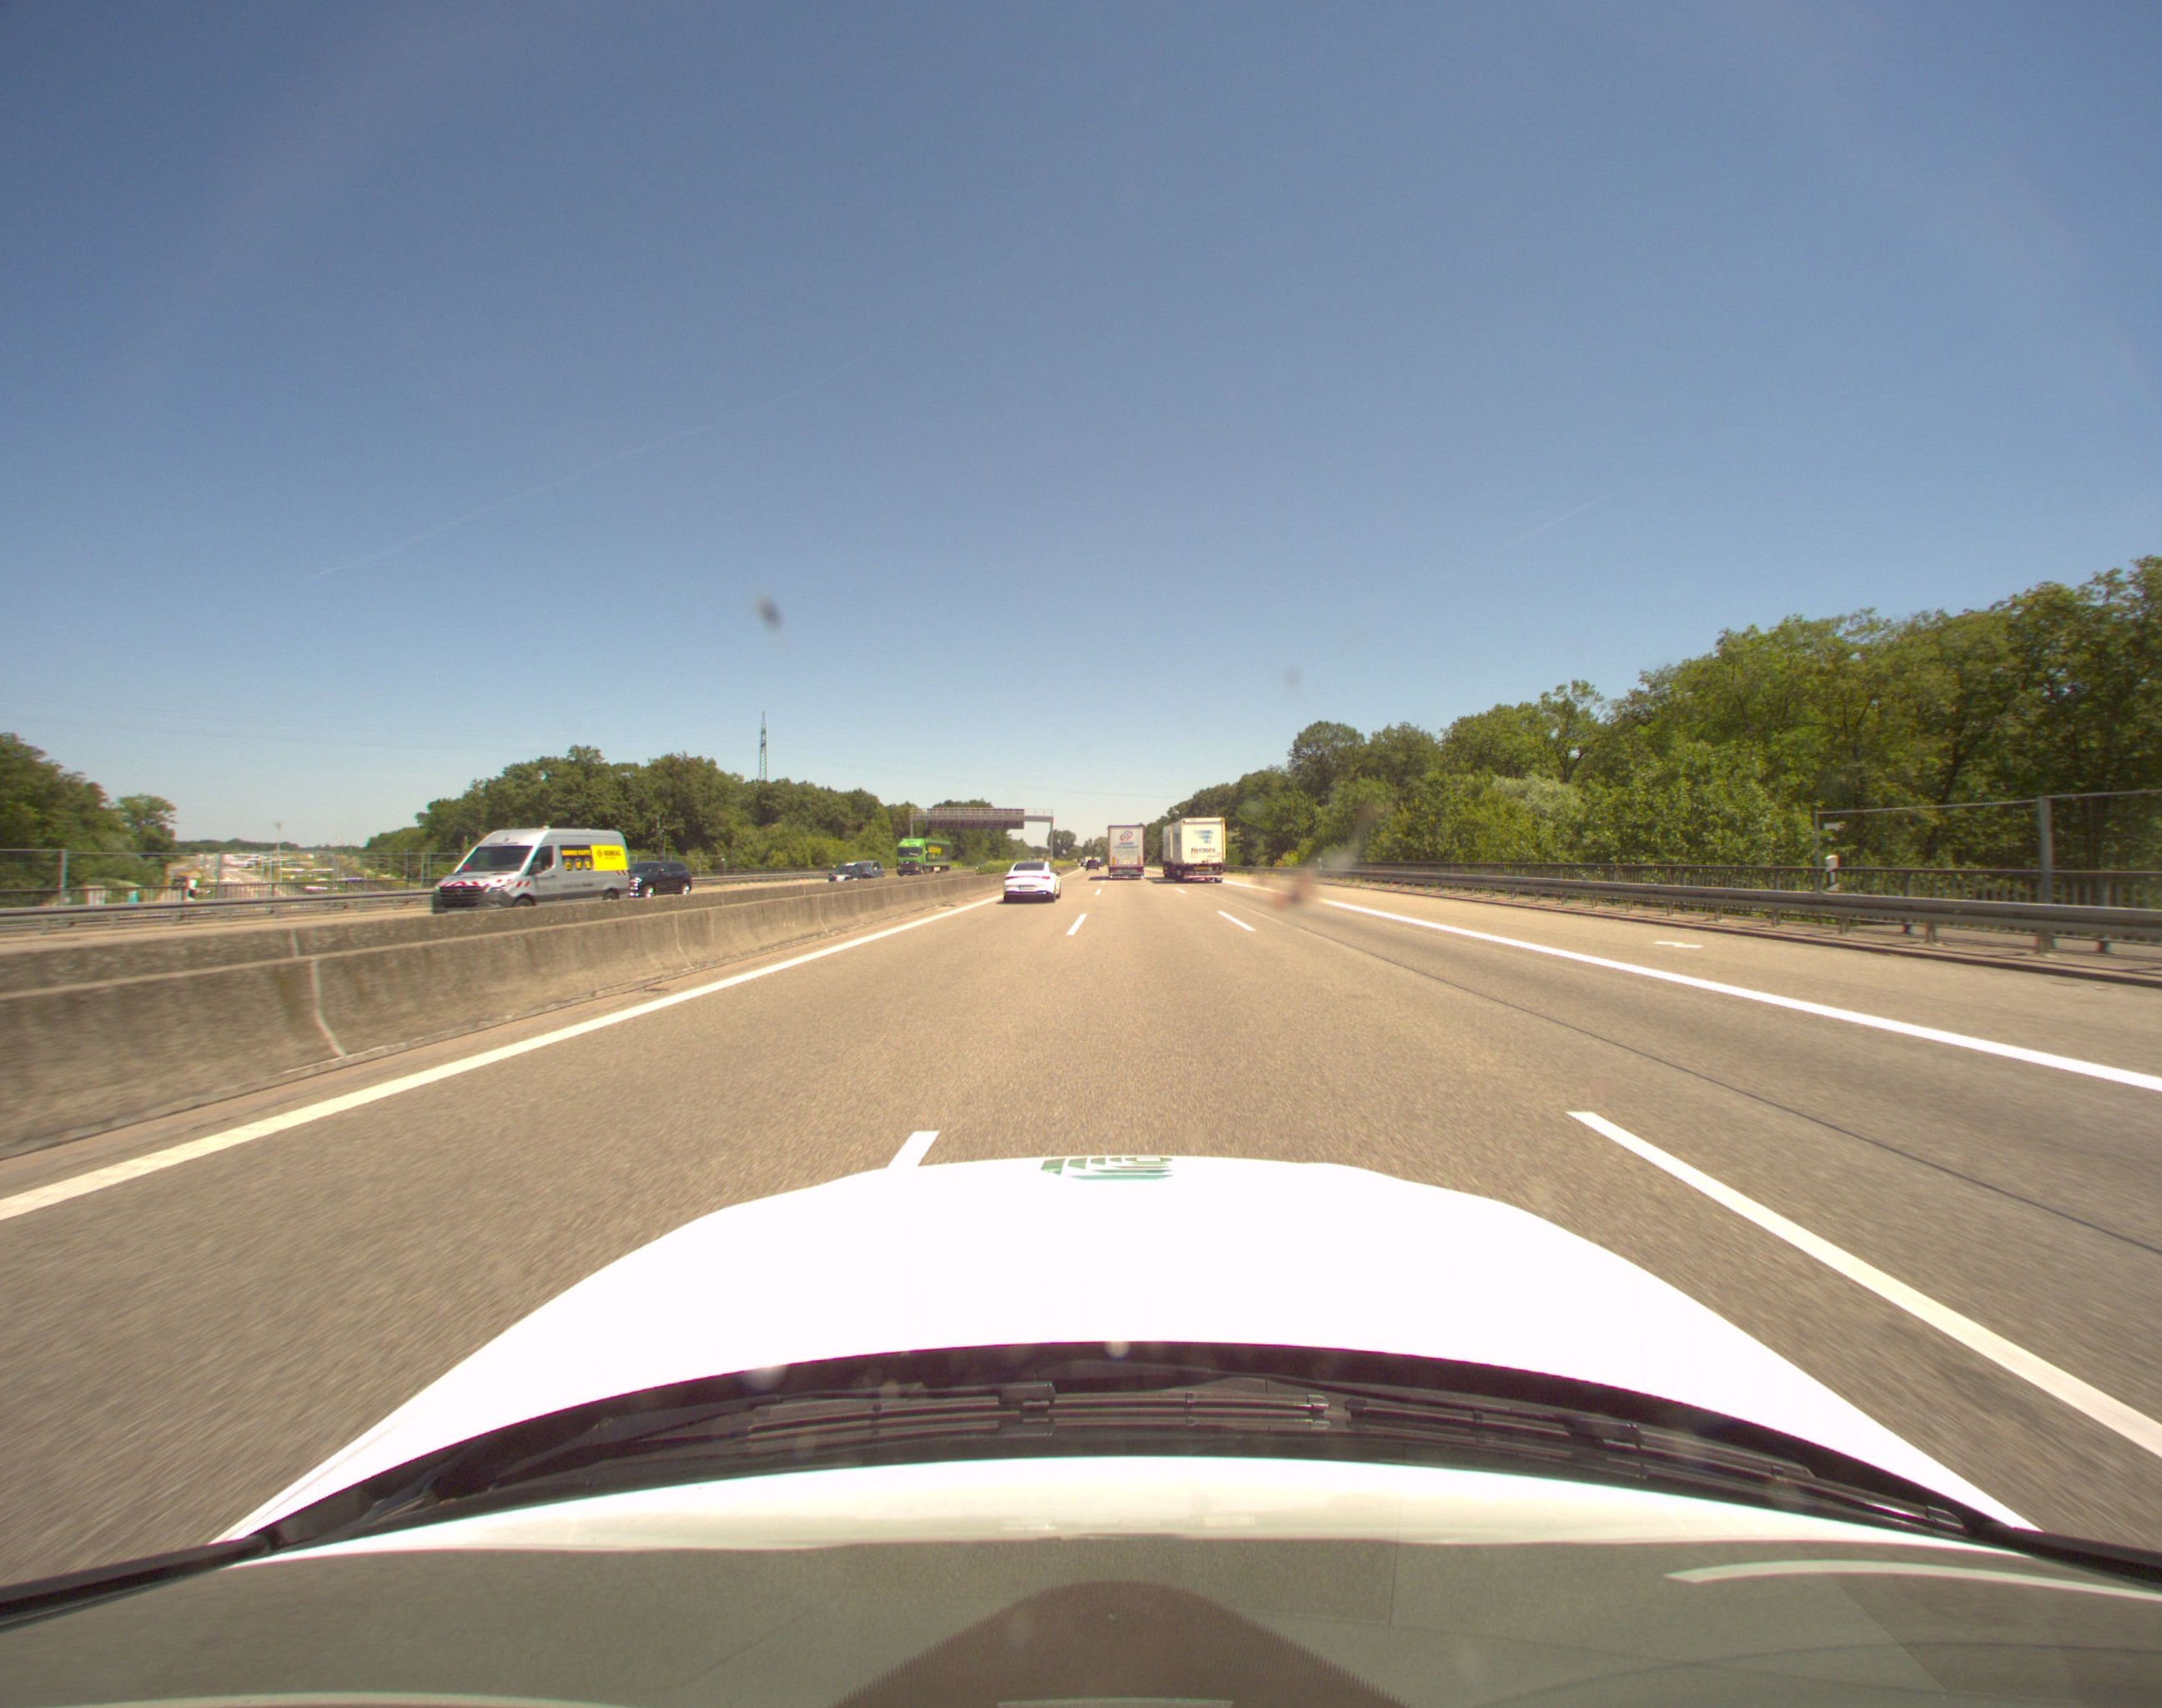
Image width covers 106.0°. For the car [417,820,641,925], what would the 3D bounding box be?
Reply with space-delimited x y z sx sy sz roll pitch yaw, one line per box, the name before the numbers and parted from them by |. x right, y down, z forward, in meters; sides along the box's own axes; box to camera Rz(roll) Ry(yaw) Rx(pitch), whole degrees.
car | -15.327 0.464 23.226 1.986 2.568 6.132 -1 0 2

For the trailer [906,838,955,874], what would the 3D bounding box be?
trailer | -17.234 0.119 94.193 2.912 3.862 11.873 -1 1 2

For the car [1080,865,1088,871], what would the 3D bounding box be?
car | 0.748 3.589 208.182 1.987 1.596 4.000 -2 -1 1

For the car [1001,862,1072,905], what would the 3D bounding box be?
car | -1.569 1.059 30.696 1.757 1.448 5.118 -1 -1 7

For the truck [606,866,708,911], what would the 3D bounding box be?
truck | -18.903 1.467 36.608 1.986 1.800 4.744 -1 0 1

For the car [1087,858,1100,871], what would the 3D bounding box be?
car | 1.909 1.558 126.615 1.986 1.874 4.002 -1 1 1

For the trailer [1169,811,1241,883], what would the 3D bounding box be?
trailer | 7.689 -0.418 51.775 3.355 4.142 9.094 -1 0 1

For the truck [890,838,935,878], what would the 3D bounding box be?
truck | -17.632 0.418 85.782 2.910 3.941 6.504 -1 0 4

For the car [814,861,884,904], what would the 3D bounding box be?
car | -10.822 1.275 38.282 1.986 1.849 4.001 -1 0 1

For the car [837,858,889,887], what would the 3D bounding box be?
car | -13.990 1.158 52.511 1.992 1.712 4.541 -1 0 2

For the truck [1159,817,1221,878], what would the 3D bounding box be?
truck | 7.895 -0.486 60.354 3.314 4.053 10.956 -1 0 1

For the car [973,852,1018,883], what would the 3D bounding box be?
car | -5.881 0.922 56.772 2.282 2.014 4.716 -1 0 4

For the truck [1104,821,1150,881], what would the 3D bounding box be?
truck | 3.421 -0.269 62.061 3.217 4.202 8.470 -1 0 2

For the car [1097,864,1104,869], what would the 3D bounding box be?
car | 5.852 3.749 243.089 1.987 1.596 4.000 -2 -1 1
